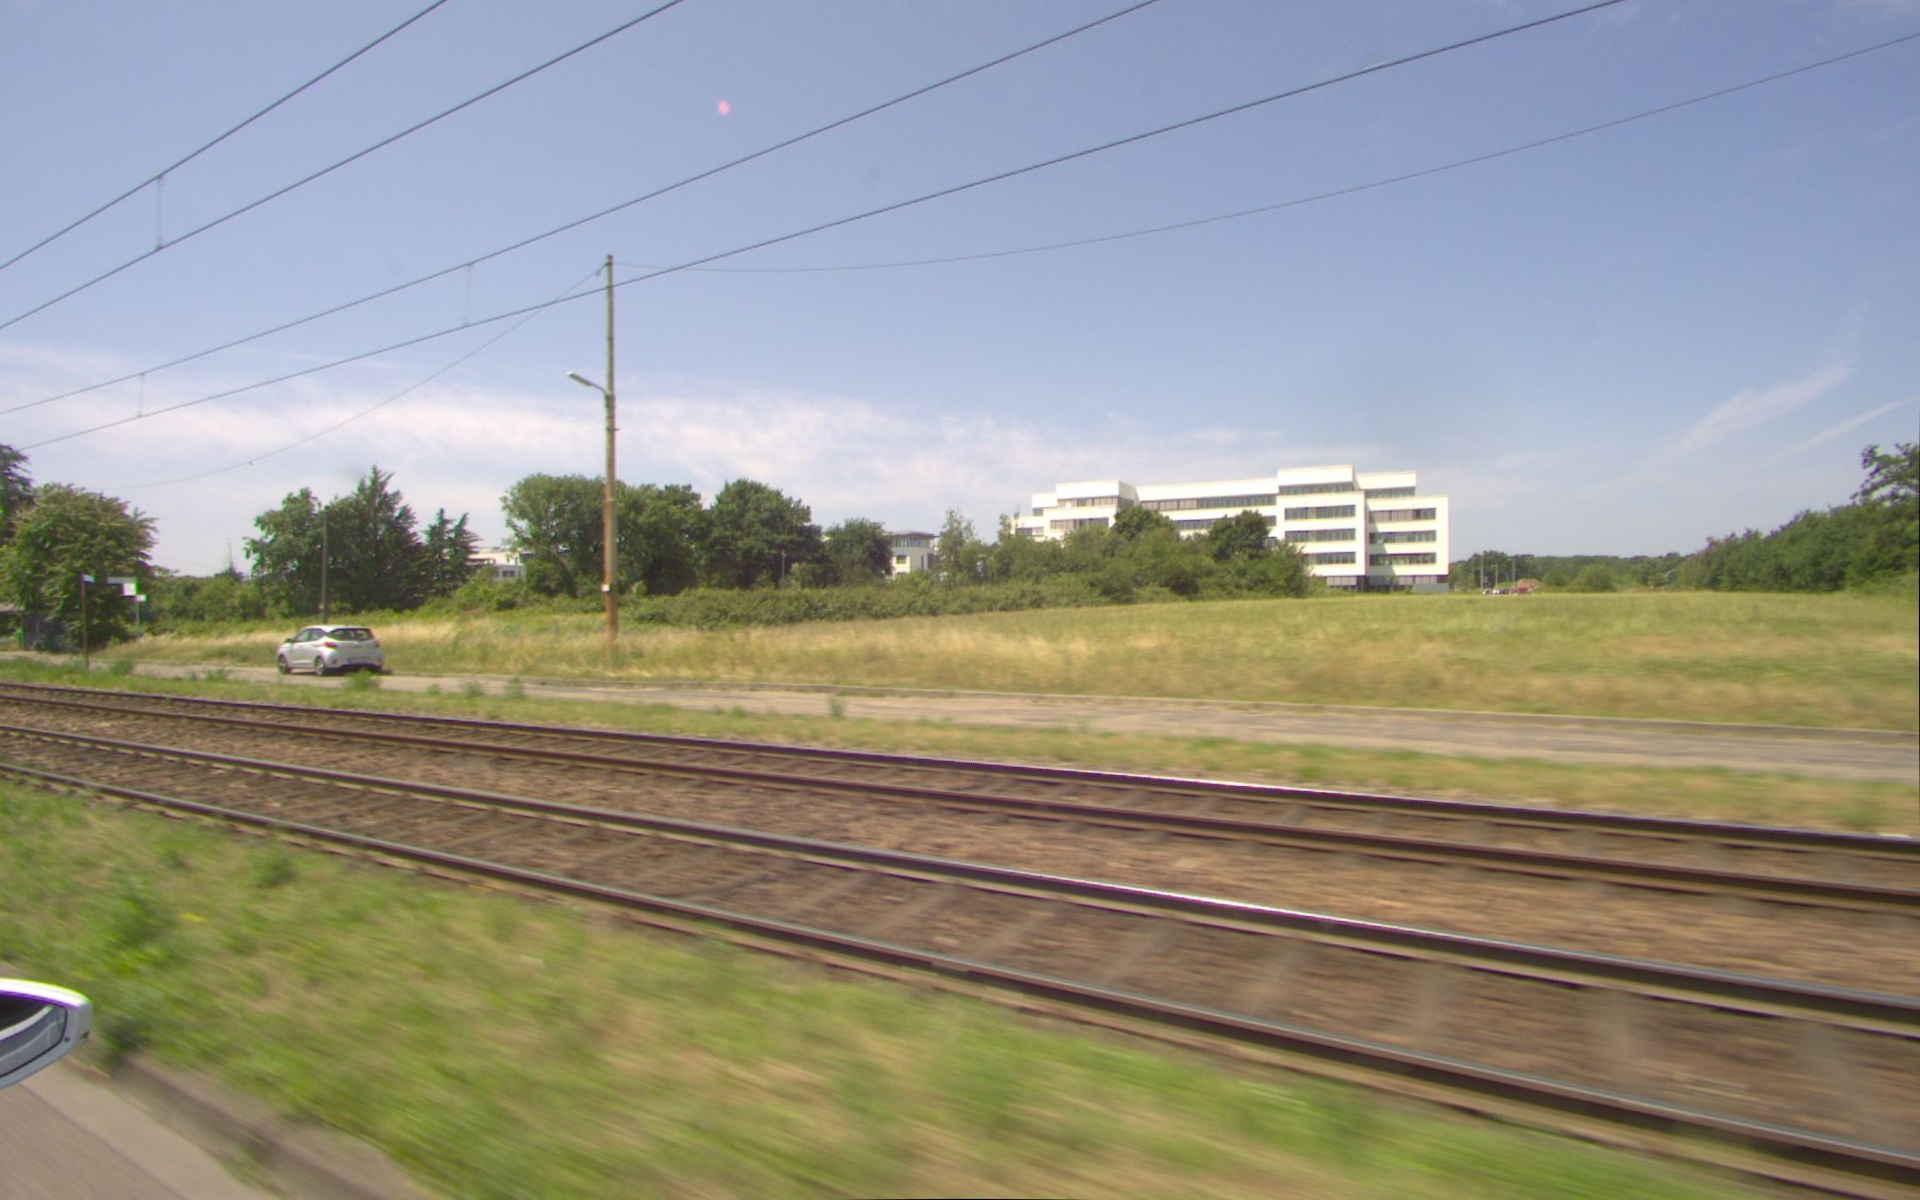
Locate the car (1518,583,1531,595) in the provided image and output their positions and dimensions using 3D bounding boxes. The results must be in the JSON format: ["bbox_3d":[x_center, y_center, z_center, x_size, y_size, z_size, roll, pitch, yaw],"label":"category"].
[{"bbox_3d":[97.675,-1.822,173.333,1.836,1.940,4.666,-1,-1,28],"label":"car"}]

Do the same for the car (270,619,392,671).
[{"bbox_3d":[-19.321,1.354,30.721,3.945,1.508,1.709,-1,-1,33],"label":"car"}]
